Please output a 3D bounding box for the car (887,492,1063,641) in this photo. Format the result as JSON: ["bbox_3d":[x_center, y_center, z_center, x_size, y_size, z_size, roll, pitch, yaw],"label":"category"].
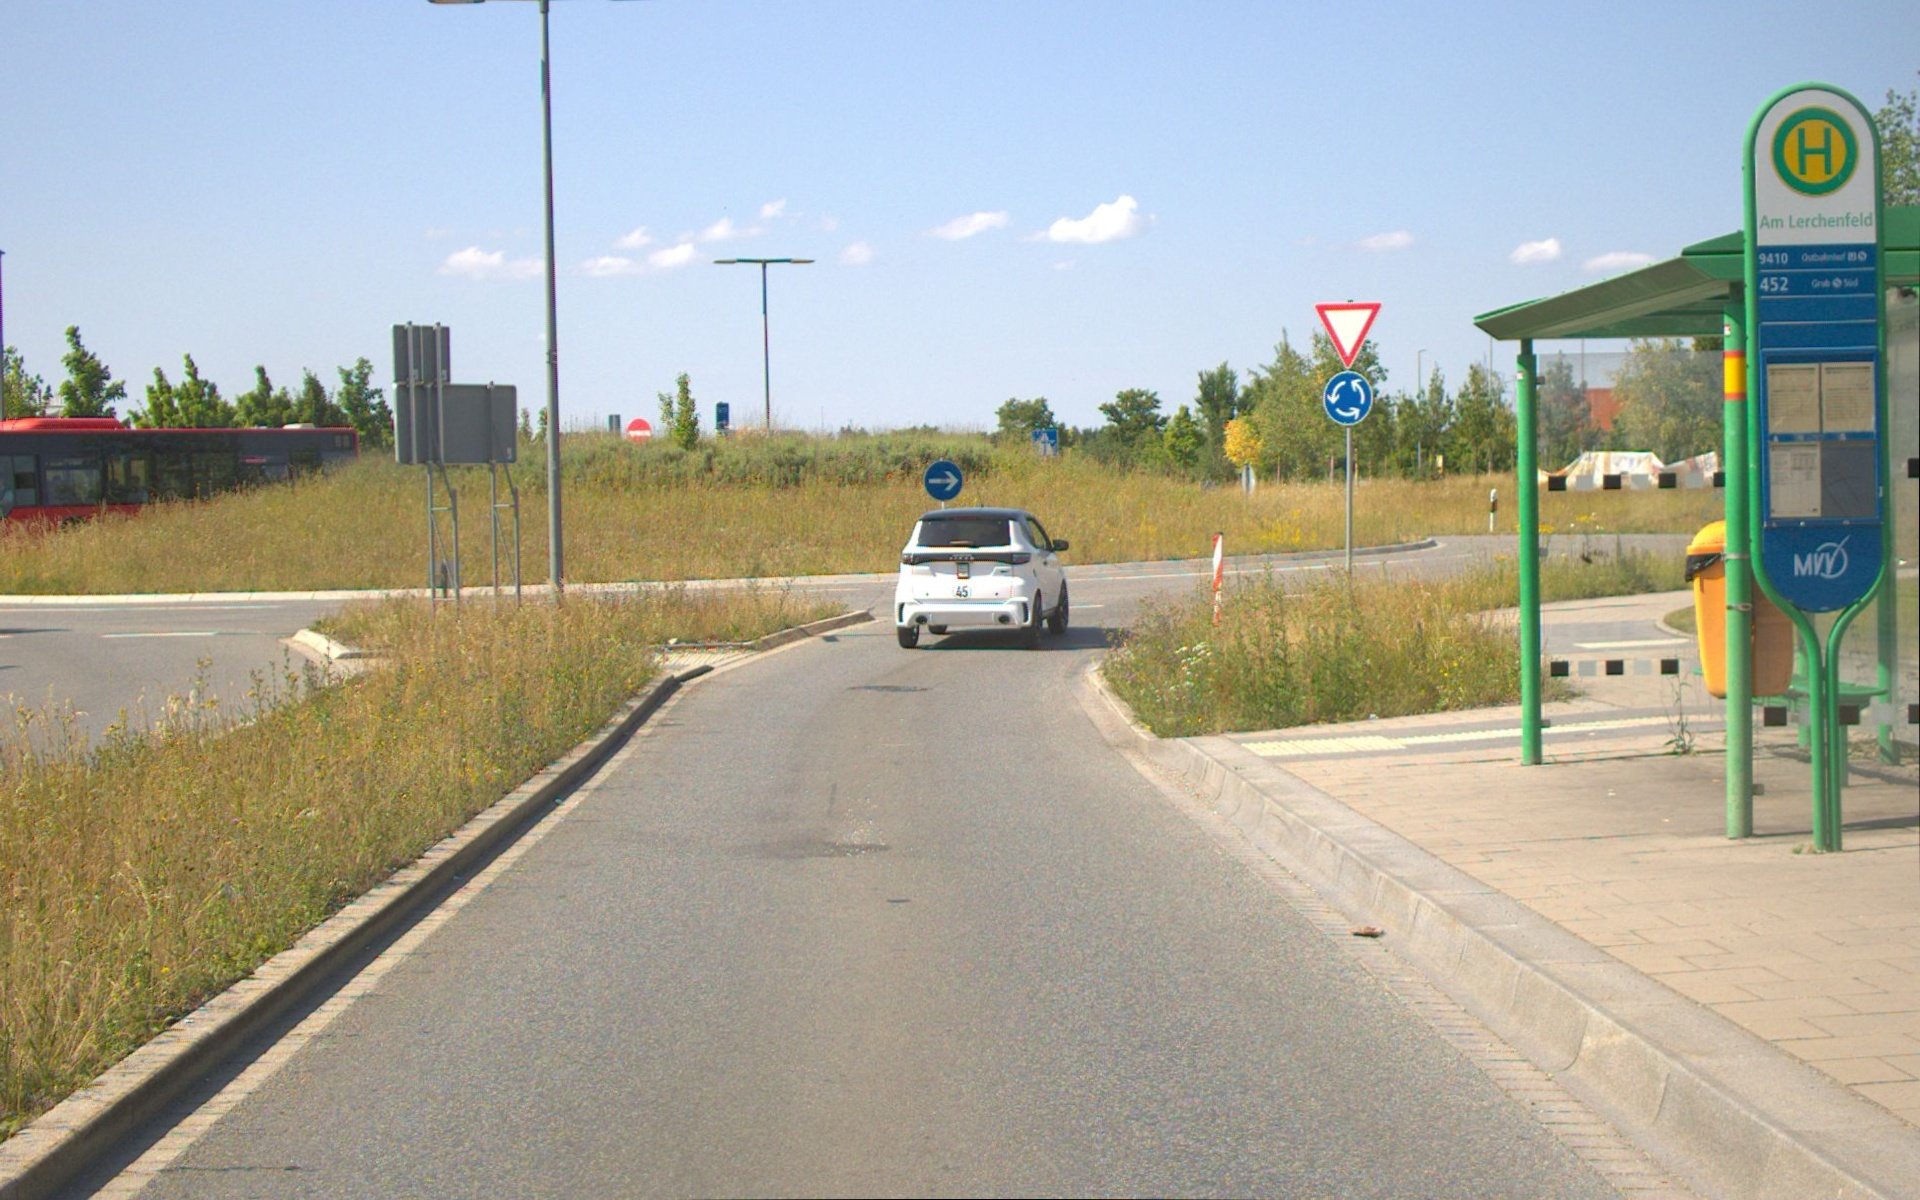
[{"bbox_3d":[0.213,-0.410,37.763,1.617,1.429,3.792,-1,3,5],"label":"car"}]

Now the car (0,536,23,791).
[{"bbox_3d":[-6.674,0.470,19.144,1.758,1.538,4.241,-3,1,-1],"label":"car"}]

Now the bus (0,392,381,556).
[{"bbox_3d":[-17.397,-2.765,73.281,2.791,3.068,12.185,0,4,30],"label":"bus"}]
